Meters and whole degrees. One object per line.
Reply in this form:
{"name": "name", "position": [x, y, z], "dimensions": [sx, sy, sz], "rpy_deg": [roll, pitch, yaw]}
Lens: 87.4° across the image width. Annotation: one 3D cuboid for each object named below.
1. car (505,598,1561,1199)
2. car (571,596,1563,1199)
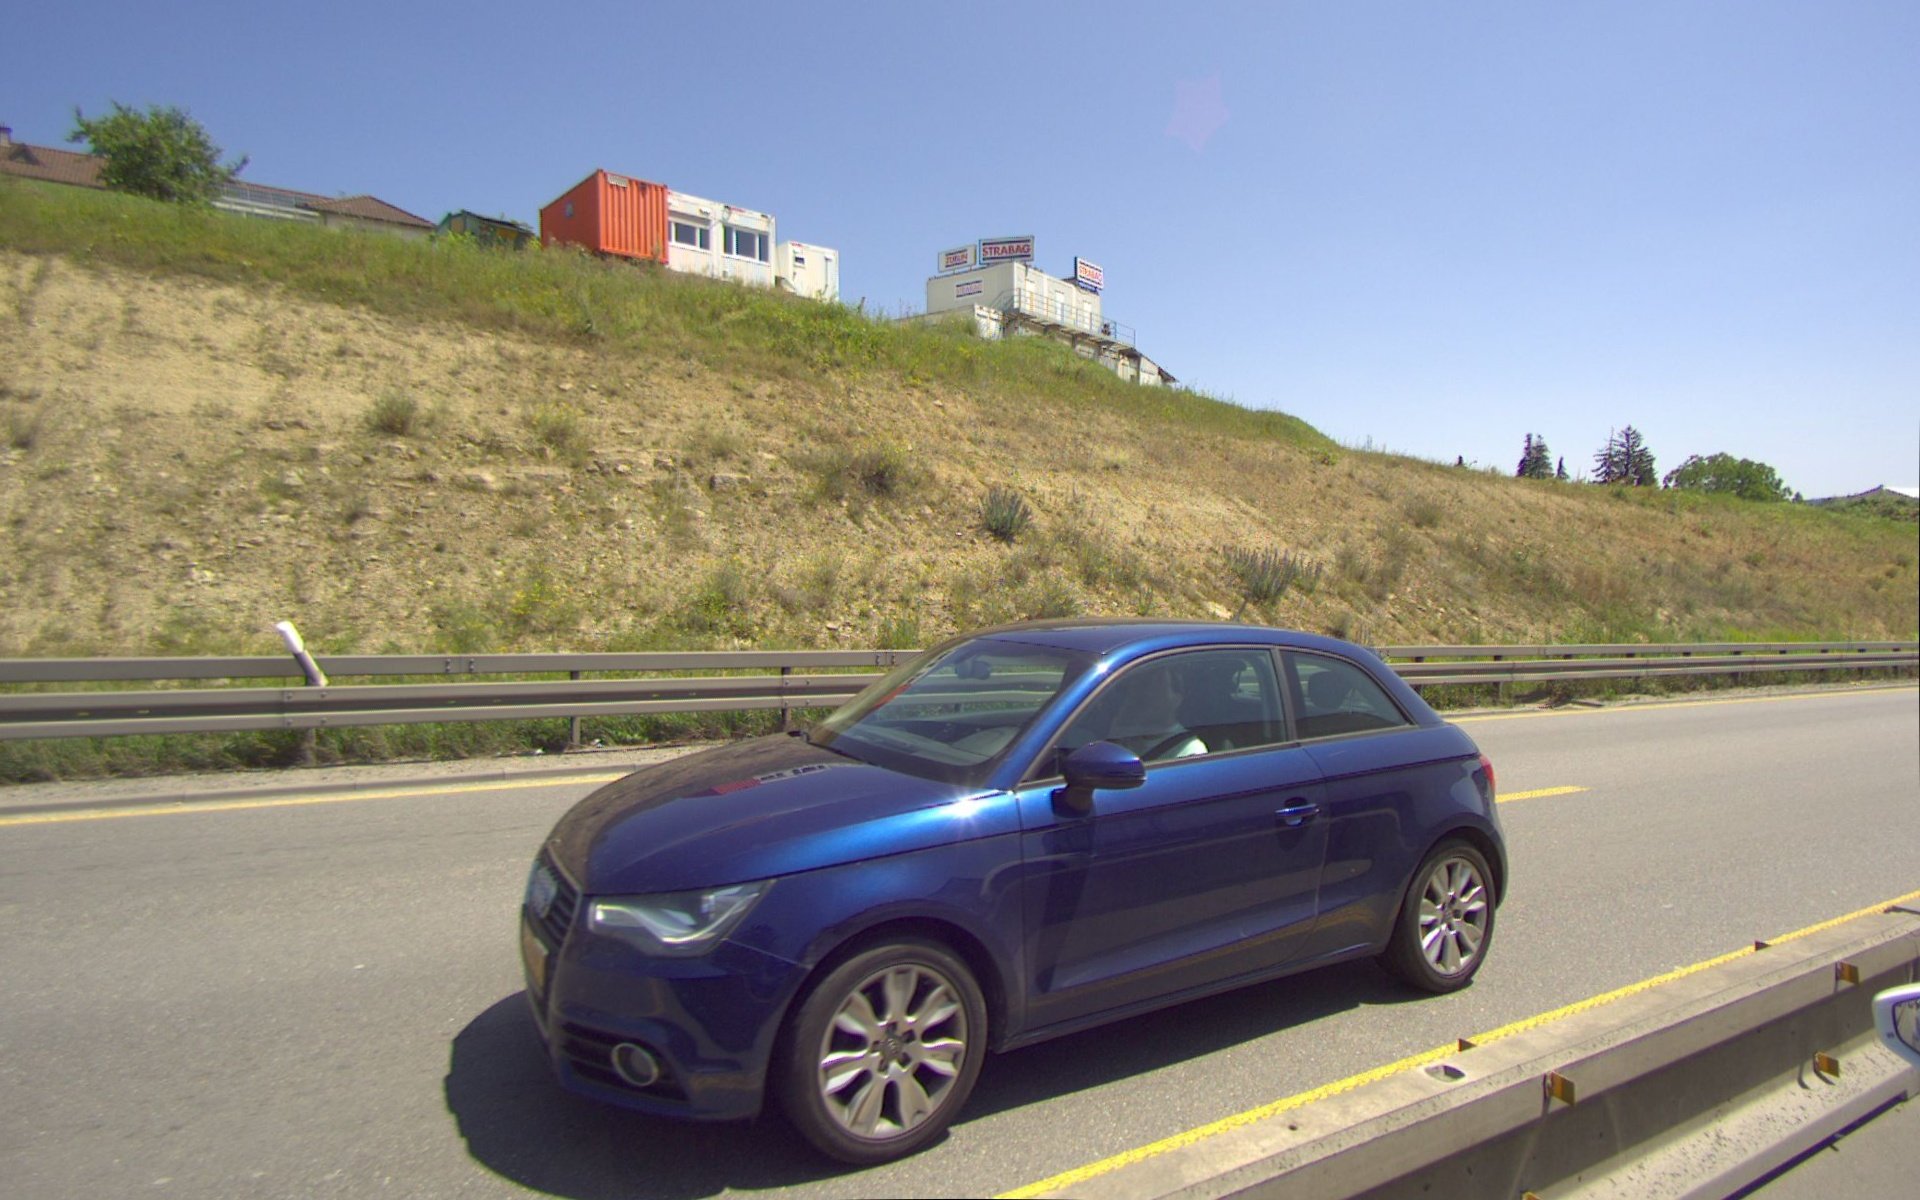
{"name": "car", "position": [0.417, 0.749, 3.876], "dimensions": [3.805, 1.449, 1.676], "rpy_deg": [1, 0, -31]}
{"name": "car", "position": [0.534, 0.731, 3.976], "dimensions": [3.645, 1.422, 1.680], "rpy_deg": [1, 0, -31]}
